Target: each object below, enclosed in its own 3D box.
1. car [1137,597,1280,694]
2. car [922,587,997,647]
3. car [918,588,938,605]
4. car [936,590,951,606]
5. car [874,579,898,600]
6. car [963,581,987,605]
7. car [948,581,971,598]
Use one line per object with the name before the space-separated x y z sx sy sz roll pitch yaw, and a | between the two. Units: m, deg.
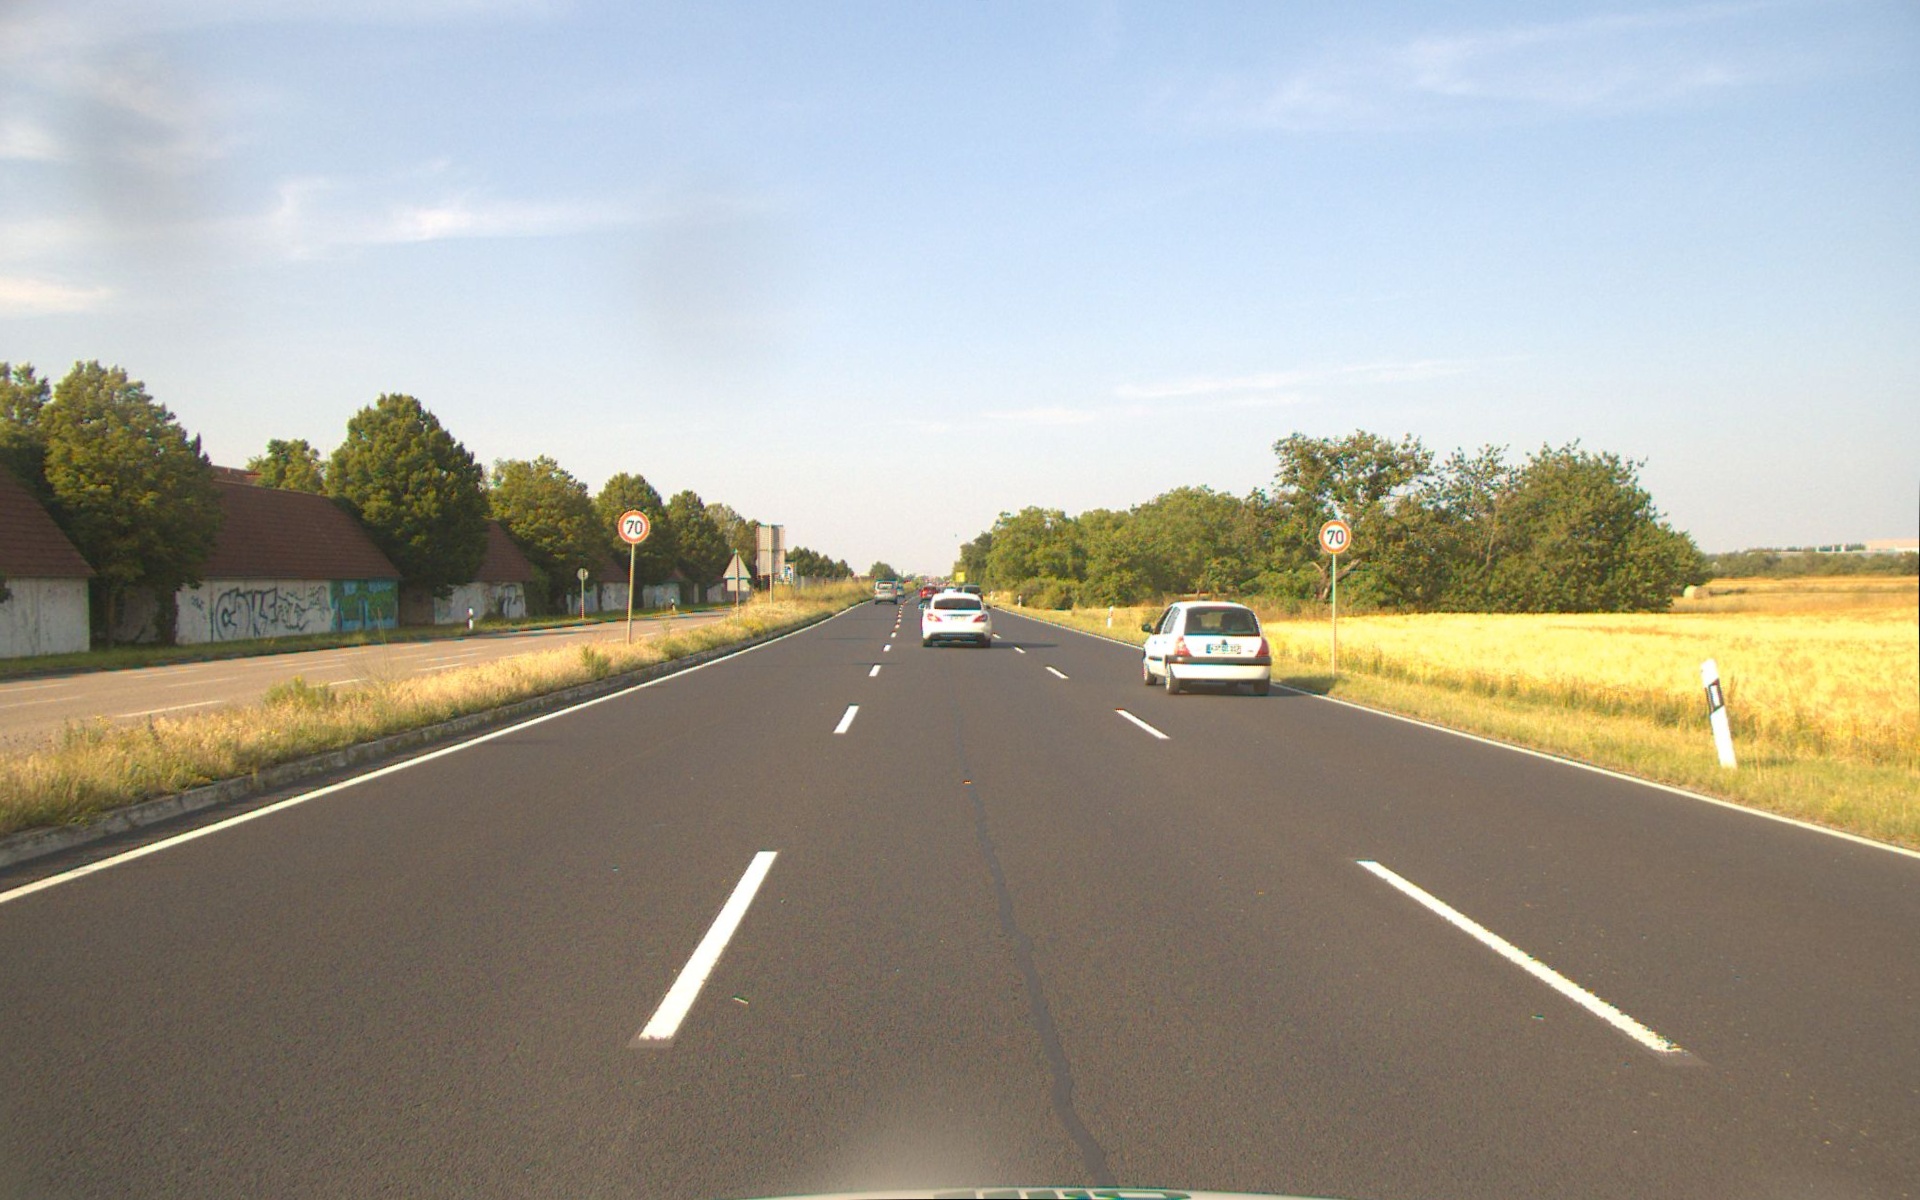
car | 3.890 0.691 26.465 1.584 1.411 3.950 1 0 -1
car | -0.043 0.466 45.393 1.953 1.543 3.999 1 0 -1
car | -2.990 -0.322 152.156 1.775 1.461 3.857 1 0 -2
car | -2.063 -0.284 207.916 1.766 1.937 3.559 1 0 0
car | -6.037 -0.883 135.508 1.722 1.646 4.000 1 0 1
car | 1.164 -0.537 130.056 1.791 1.758 3.999 1 0 -1
car | -0.055 -1.058 162.701 1.954 1.613 4.281 1 0 -4
